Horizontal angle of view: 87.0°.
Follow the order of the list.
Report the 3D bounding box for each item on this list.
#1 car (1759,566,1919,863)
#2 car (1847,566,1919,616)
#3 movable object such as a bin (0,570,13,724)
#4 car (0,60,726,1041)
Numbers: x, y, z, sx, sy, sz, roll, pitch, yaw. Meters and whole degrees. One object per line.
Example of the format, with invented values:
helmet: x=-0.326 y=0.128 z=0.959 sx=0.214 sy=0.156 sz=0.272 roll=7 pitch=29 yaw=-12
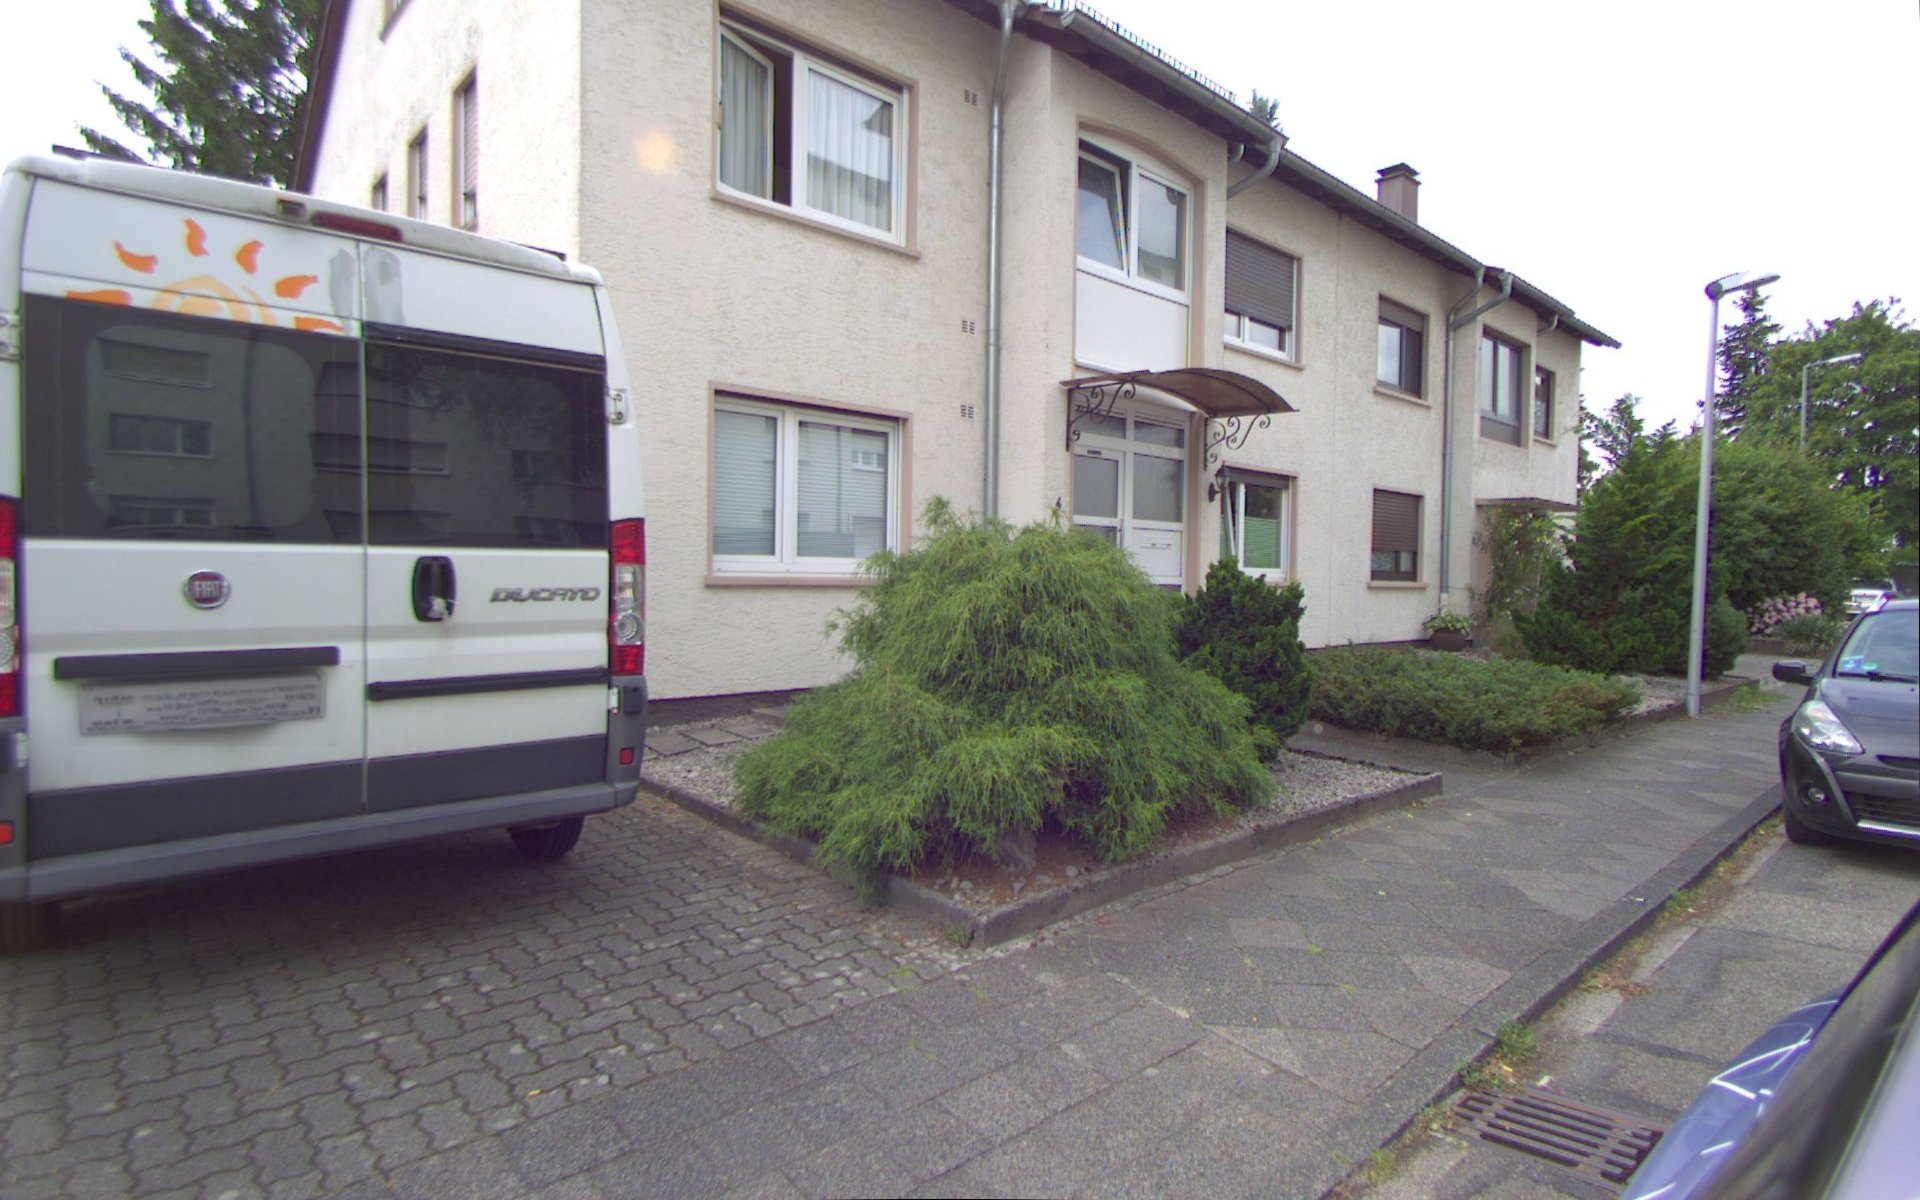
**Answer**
car: x=6.433 y=0.555 z=6.269 sx=4.122 sy=1.476 sz=1.831 roll=-1 pitch=1 yaw=-44
car: x=30.412 y=-0.342 z=33.194 sx=3.936 sy=1.484 sz=1.702 roll=-3 pitch=4 yaw=-45
movable object such as a bin: x=-7.044 y=0.329 z=7.123 sx=0.537 sy=1.069 sz=0.456 roll=-1 pitch=4 yaw=-43
car: x=-3.450 y=-0.260 z=5.236 sx=2.199 sy=2.573 sz=5.098 roll=0 pitch=3 yaw=-41
